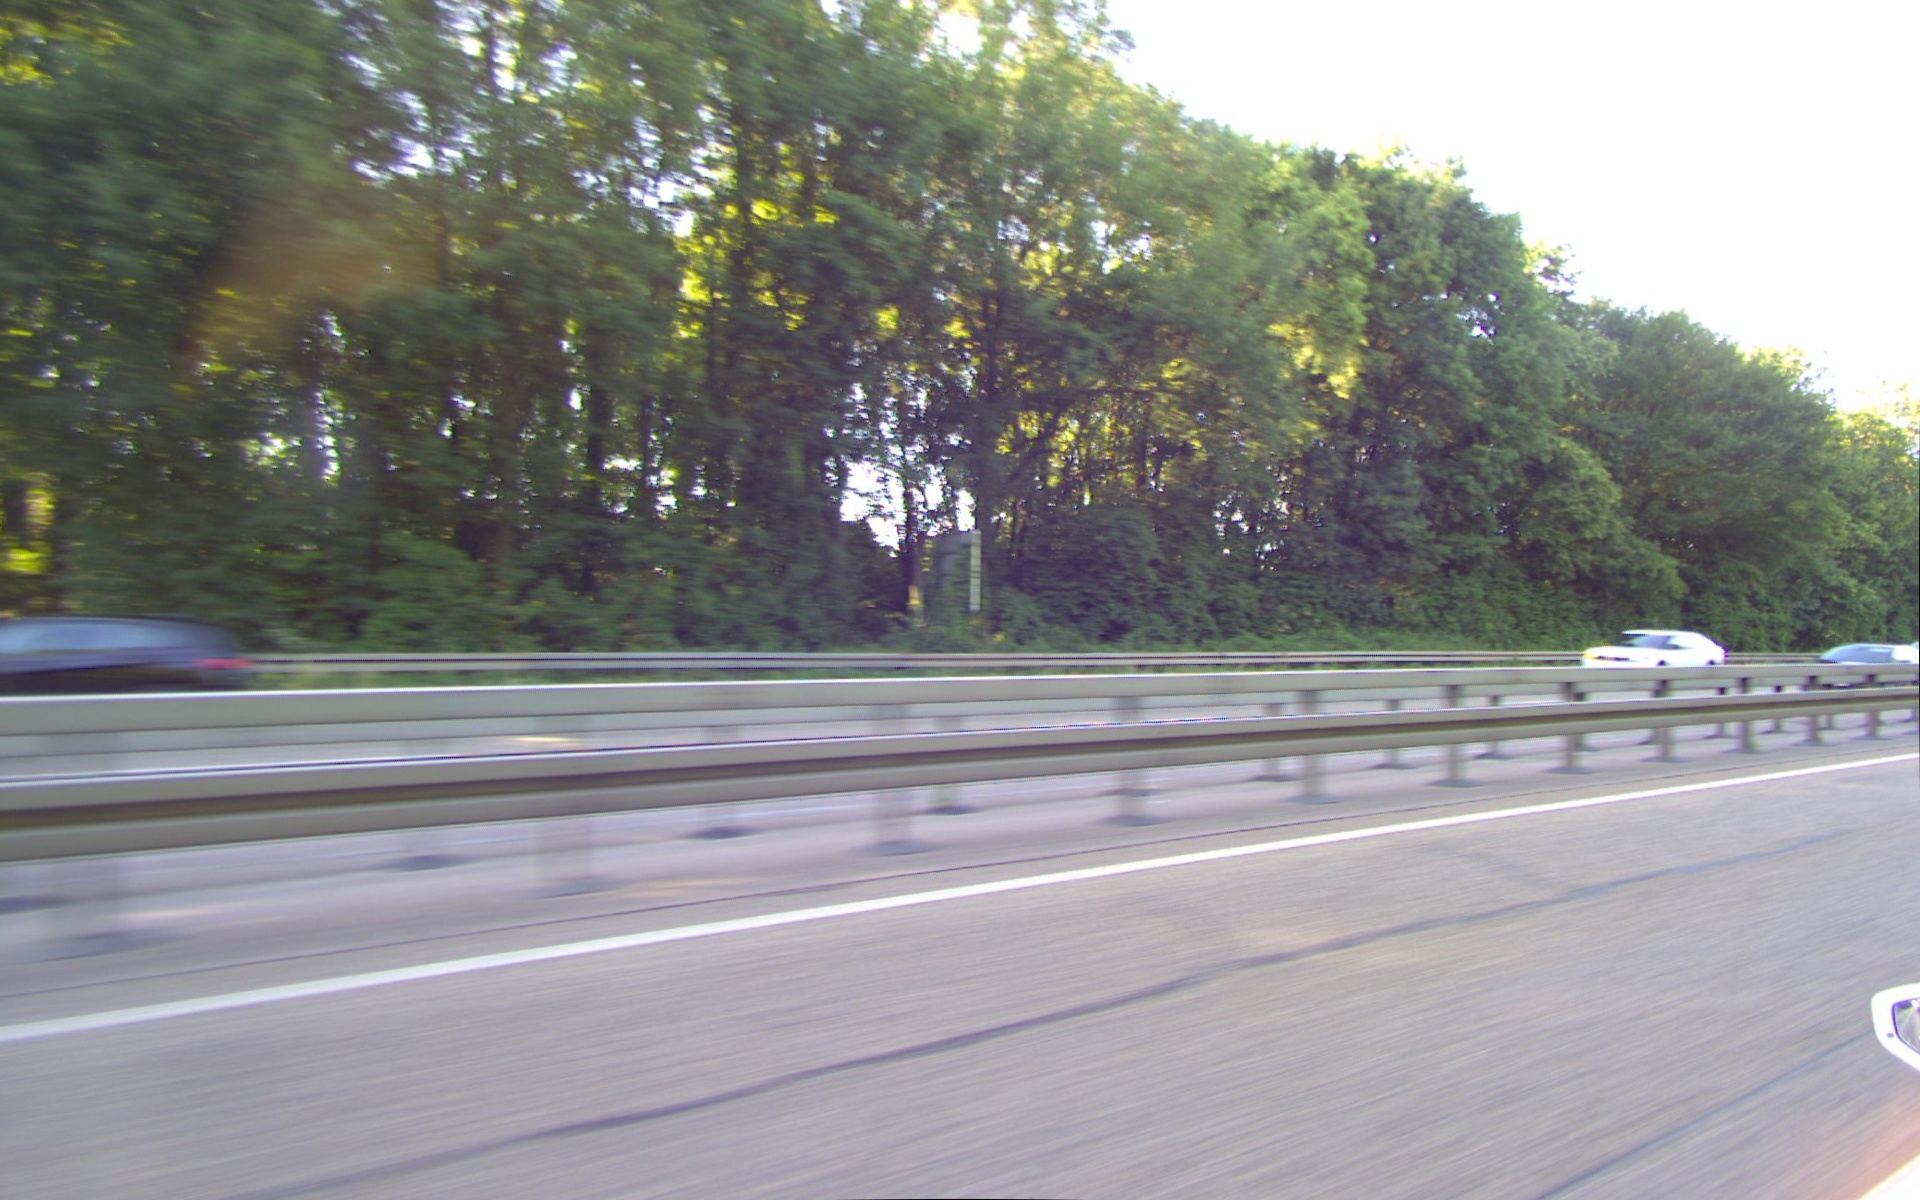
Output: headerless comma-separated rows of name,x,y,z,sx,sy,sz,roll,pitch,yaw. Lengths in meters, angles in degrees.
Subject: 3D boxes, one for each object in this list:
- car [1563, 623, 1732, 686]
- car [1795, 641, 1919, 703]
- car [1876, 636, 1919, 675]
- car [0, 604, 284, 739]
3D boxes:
car,19.582,1.545,28.599,4.729,1.644,1.986,2,-3,-28
car,23.586,1.829,25.897,4.045,1.487,1.718,2,-3,-28
car,38.045,2.175,39.354,3.951,1.483,1.985,2,-3,-29
car,-10.770,0.852,12.299,3.954,1.505,1.984,2,-3,-31
